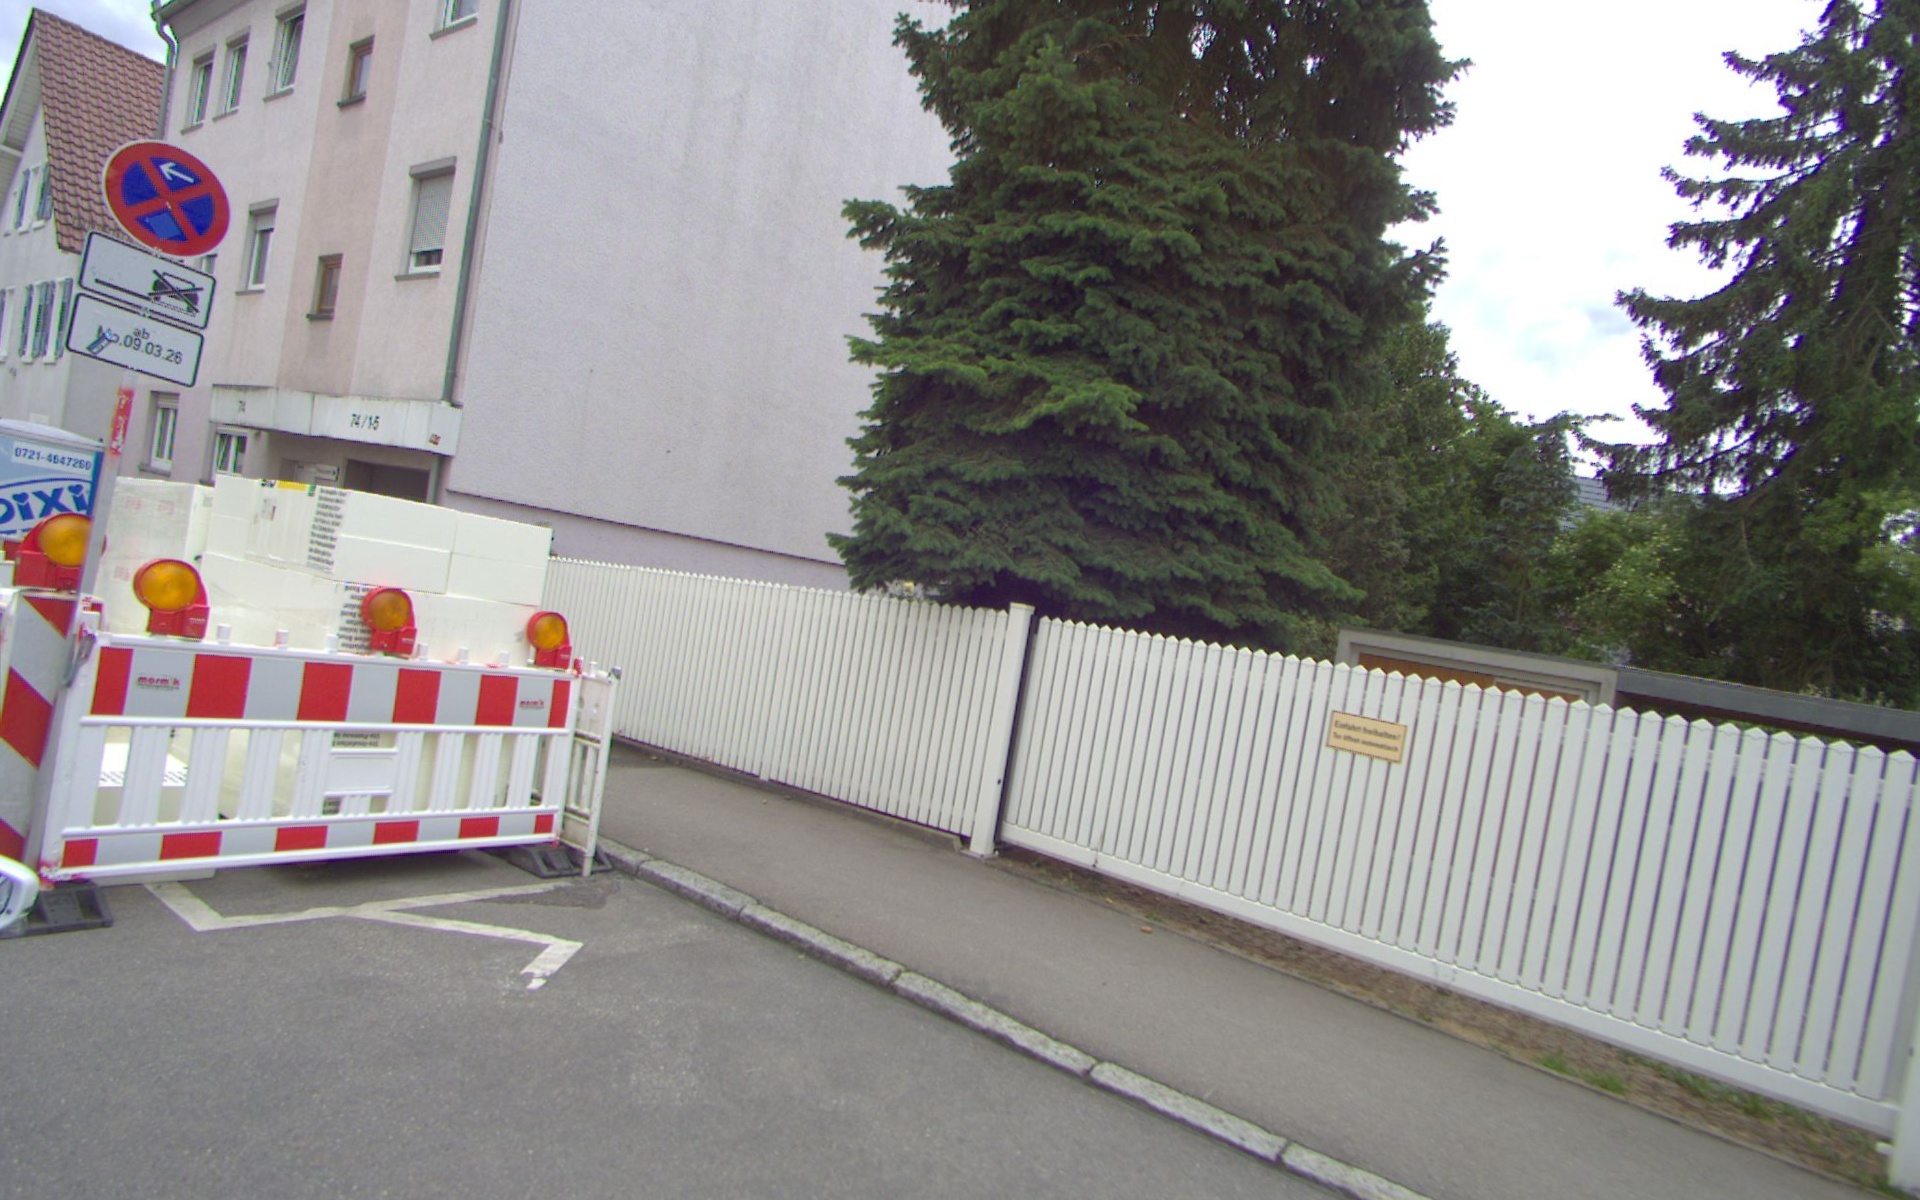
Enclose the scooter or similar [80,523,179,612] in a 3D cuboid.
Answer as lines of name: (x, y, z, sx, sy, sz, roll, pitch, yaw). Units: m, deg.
scooter or similar: (-12.907, -0.514, 15.615, 1.738, 1.170, 0.642, 8, 1, 34)
